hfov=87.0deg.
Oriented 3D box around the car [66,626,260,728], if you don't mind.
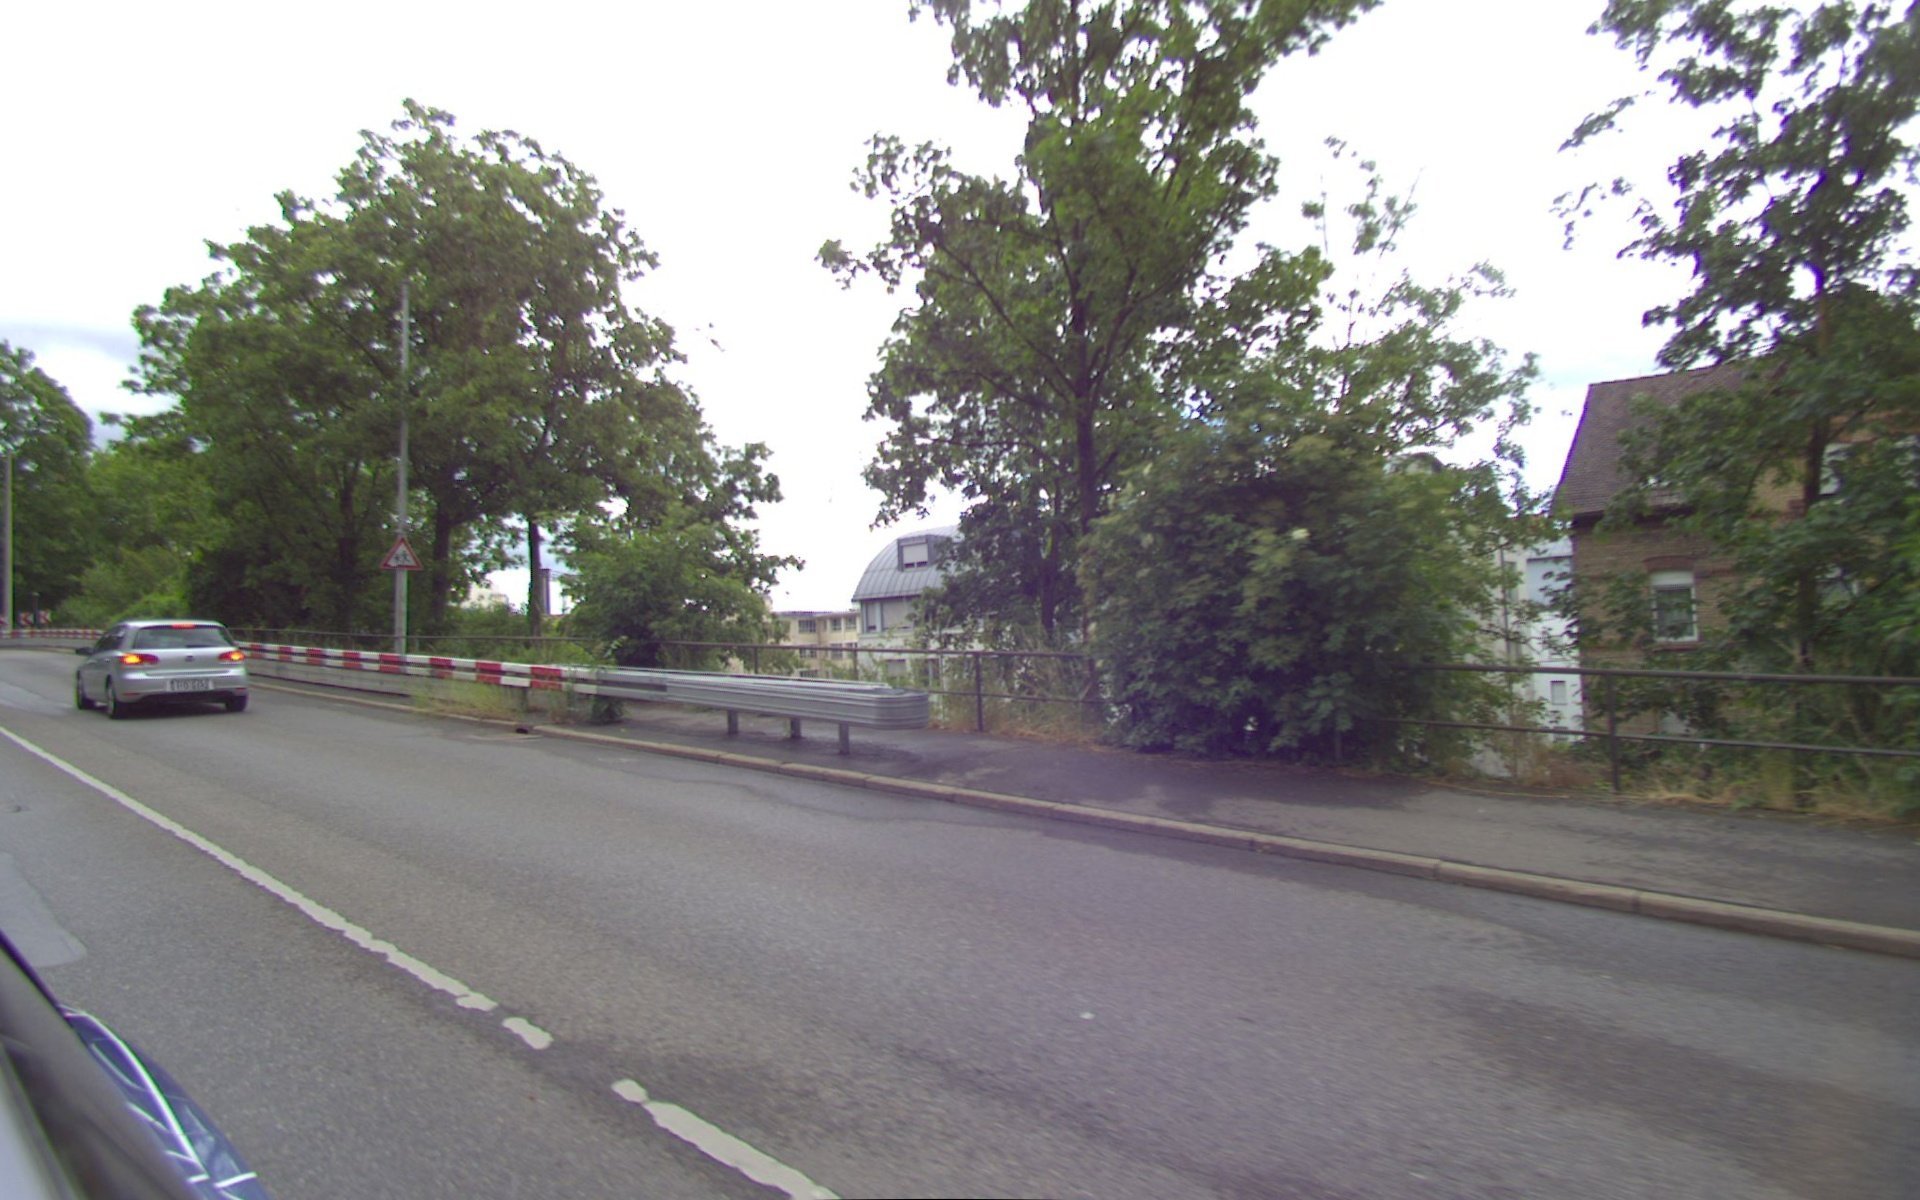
[{"bbox_3d":[-13.110,1.158,16.558,4.141,1.438,1.775,-1,-1,41],"label":"car"}]
